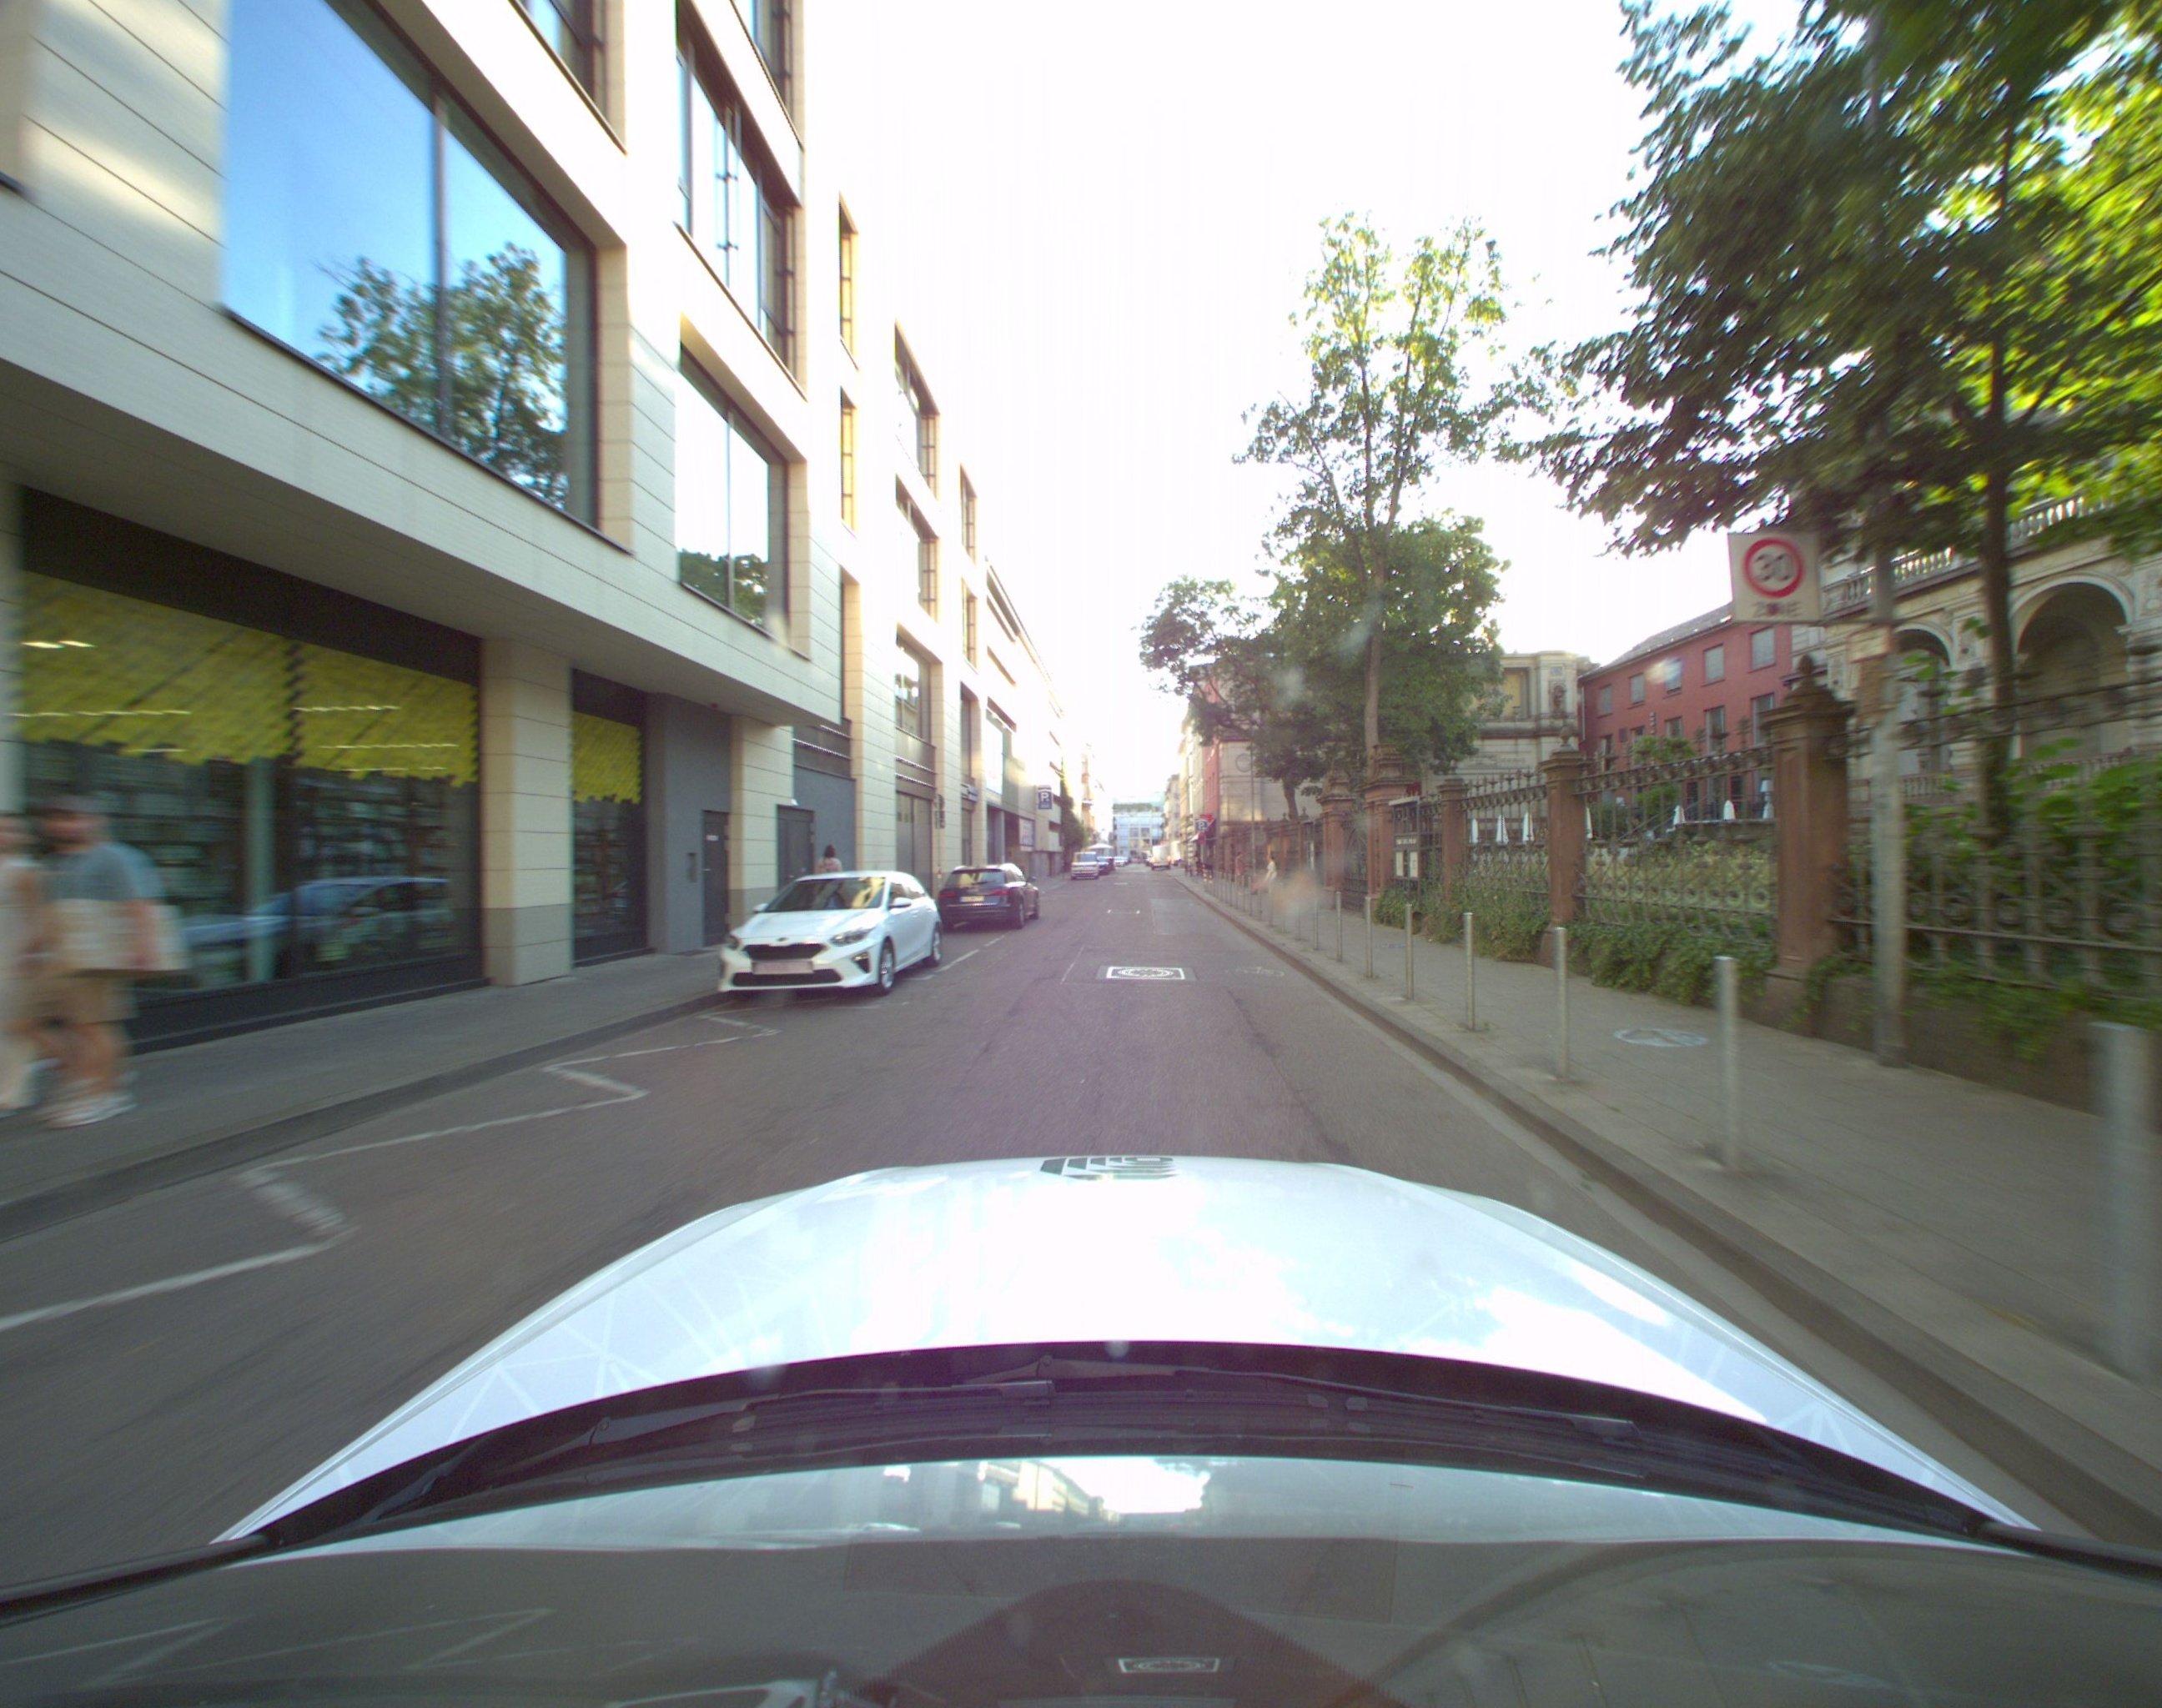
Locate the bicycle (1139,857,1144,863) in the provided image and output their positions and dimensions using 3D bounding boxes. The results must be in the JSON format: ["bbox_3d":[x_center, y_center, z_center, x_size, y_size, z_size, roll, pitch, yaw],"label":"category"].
[{"bbox_3d":[11.513,1.164,155.500,0.971,1.280,2.757,-1,-1,4],"label":"bicycle"}]

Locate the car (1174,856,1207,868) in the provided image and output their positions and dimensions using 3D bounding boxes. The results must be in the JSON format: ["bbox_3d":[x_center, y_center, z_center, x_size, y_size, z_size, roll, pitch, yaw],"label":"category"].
[{"bbox_3d":[13.573,1.032,101.103,3.969,1.420,1.658,-1,-1,4],"label":"car"}]

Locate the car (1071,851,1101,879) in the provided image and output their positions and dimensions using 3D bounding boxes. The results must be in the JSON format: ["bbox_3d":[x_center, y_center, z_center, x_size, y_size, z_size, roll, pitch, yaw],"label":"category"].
[{"bbox_3d":[0.391,0.741,57.866,1.876,1.912,4.751,-1,0,2],"label":"car"}]

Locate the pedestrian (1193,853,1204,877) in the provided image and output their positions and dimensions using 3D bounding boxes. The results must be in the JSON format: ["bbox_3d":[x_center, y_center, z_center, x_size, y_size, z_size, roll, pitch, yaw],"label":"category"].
[{"bbox_3d":[8.278,0.761,57.446,0.659,1.666,0.625,-3,-1,4],"label":"pedestrian"}]

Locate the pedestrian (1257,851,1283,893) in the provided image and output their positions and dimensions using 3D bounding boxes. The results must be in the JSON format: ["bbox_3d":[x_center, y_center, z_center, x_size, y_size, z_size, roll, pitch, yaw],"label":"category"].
[{"bbox_3d":[6.964,0.653,30.005,0.747,1.500,0.618,-2,0,-2],"label":"pedestrian"}]

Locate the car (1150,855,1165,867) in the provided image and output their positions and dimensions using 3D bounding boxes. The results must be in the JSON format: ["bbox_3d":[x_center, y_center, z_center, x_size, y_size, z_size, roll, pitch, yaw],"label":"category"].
[{"bbox_3d":[10.842,1.046,115.317,1.984,1.684,4.004,-1,-1,4],"label":"car"}]

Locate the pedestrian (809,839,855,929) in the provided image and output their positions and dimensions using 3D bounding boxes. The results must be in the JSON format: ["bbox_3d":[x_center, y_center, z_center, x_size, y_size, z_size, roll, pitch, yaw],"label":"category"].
[{"bbox_3d":[-4.938,0.595,16.180,0.669,1.744,0.648,-1,-1,4],"label":"pedestrian"}]

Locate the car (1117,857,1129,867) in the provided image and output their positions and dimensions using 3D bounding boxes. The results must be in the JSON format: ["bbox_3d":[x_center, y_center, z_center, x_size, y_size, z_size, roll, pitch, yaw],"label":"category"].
[{"bbox_3d":[7.210,1.451,139.637,1.984,1.684,4.004,-1,-1,4],"label":"car"}]

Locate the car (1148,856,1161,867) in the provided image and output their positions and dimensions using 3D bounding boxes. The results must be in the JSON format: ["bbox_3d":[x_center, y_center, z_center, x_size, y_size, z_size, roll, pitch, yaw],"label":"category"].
[{"bbox_3d":[11.422,1.223,127.144,1.984,1.684,4.004,-1,-1,4],"label":"car"}]

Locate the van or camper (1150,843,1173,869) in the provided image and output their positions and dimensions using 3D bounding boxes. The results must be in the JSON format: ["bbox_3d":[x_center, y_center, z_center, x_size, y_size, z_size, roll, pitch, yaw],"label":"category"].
[{"bbox_3d":[8.871,0.271,90.583,2.248,2.607,5.118,-5,-1,4],"label":"van or camper"}]

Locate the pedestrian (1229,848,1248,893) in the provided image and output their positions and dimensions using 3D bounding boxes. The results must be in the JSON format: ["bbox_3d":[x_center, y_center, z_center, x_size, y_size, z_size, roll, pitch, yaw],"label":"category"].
[{"bbox_3d":[5.846,0.608,30.256,0.483,1.658,0.618,-2,0,-3],"label":"pedestrian"}]

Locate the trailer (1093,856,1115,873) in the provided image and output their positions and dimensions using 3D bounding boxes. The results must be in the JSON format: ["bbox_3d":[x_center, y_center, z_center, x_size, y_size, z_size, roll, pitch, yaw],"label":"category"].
[{"bbox_3d":[2.235,0.990,78.216,1.985,1.557,4.003,-1,-1,3],"label":"trailer"}]

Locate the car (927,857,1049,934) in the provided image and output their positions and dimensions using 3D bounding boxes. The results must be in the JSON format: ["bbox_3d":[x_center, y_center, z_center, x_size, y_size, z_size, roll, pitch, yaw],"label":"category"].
[{"bbox_3d":[-2.065,0.892,19.467,1.874,1.598,4.697,-1,0,6],"label":"car"}]

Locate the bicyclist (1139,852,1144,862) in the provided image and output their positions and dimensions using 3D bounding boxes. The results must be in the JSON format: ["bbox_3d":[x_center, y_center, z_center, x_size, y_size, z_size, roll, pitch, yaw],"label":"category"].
[{"bbox_3d":[11.481,0.498,155.138,0.985,1.869,0.709,-1,-1,4],"label":"bicyclist"}]

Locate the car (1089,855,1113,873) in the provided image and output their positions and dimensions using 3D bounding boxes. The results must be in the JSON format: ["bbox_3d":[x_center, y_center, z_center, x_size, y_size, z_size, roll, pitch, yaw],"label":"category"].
[{"bbox_3d":[1.741,0.857,68.987,1.876,1.453,4.003,-1,0,3],"label":"car"}]

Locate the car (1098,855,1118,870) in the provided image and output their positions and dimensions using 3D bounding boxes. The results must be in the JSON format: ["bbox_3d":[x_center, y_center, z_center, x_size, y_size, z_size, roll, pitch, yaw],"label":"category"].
[{"bbox_3d":[2.770,0.858,82.767,1.876,1.453,4.003,-1,0,3],"label":"car"}]

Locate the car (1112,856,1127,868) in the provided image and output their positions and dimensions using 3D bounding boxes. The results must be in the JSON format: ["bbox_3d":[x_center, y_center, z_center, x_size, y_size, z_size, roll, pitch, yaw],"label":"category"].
[{"bbox_3d":[5.541,1.118,117.042,1.984,1.684,4.004,-1,-1,4],"label":"car"}]

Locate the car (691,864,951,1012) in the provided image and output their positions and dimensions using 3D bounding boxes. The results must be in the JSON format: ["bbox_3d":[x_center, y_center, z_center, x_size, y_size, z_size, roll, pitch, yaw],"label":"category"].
[{"bbox_3d":[-2.985,0.881,10.403,1.770,1.453,4.234,-1,0,3],"label":"car"}]

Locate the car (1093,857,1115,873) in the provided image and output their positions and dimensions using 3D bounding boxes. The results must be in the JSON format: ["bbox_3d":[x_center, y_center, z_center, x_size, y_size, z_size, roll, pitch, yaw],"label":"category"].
[{"bbox_3d":[2.084,0.982,73.865,1.876,1.453,4.003,-1,0,3],"label":"car"}]

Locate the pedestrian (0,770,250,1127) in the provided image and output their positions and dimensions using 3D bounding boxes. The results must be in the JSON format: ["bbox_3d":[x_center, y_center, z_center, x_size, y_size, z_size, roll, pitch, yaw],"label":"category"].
[{"bbox_3d":[-5.280,0.488,4.519,0.669,1.836,0.647,-1,0,1],"label":"pedestrian"}]

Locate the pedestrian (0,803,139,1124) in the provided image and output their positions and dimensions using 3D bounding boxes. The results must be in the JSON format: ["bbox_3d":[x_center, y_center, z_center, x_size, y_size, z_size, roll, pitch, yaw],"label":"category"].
[{"bbox_3d":[-5.962,0.575,4.535,0.669,1.675,0.647,-1,0,1],"label":"pedestrian"}]
